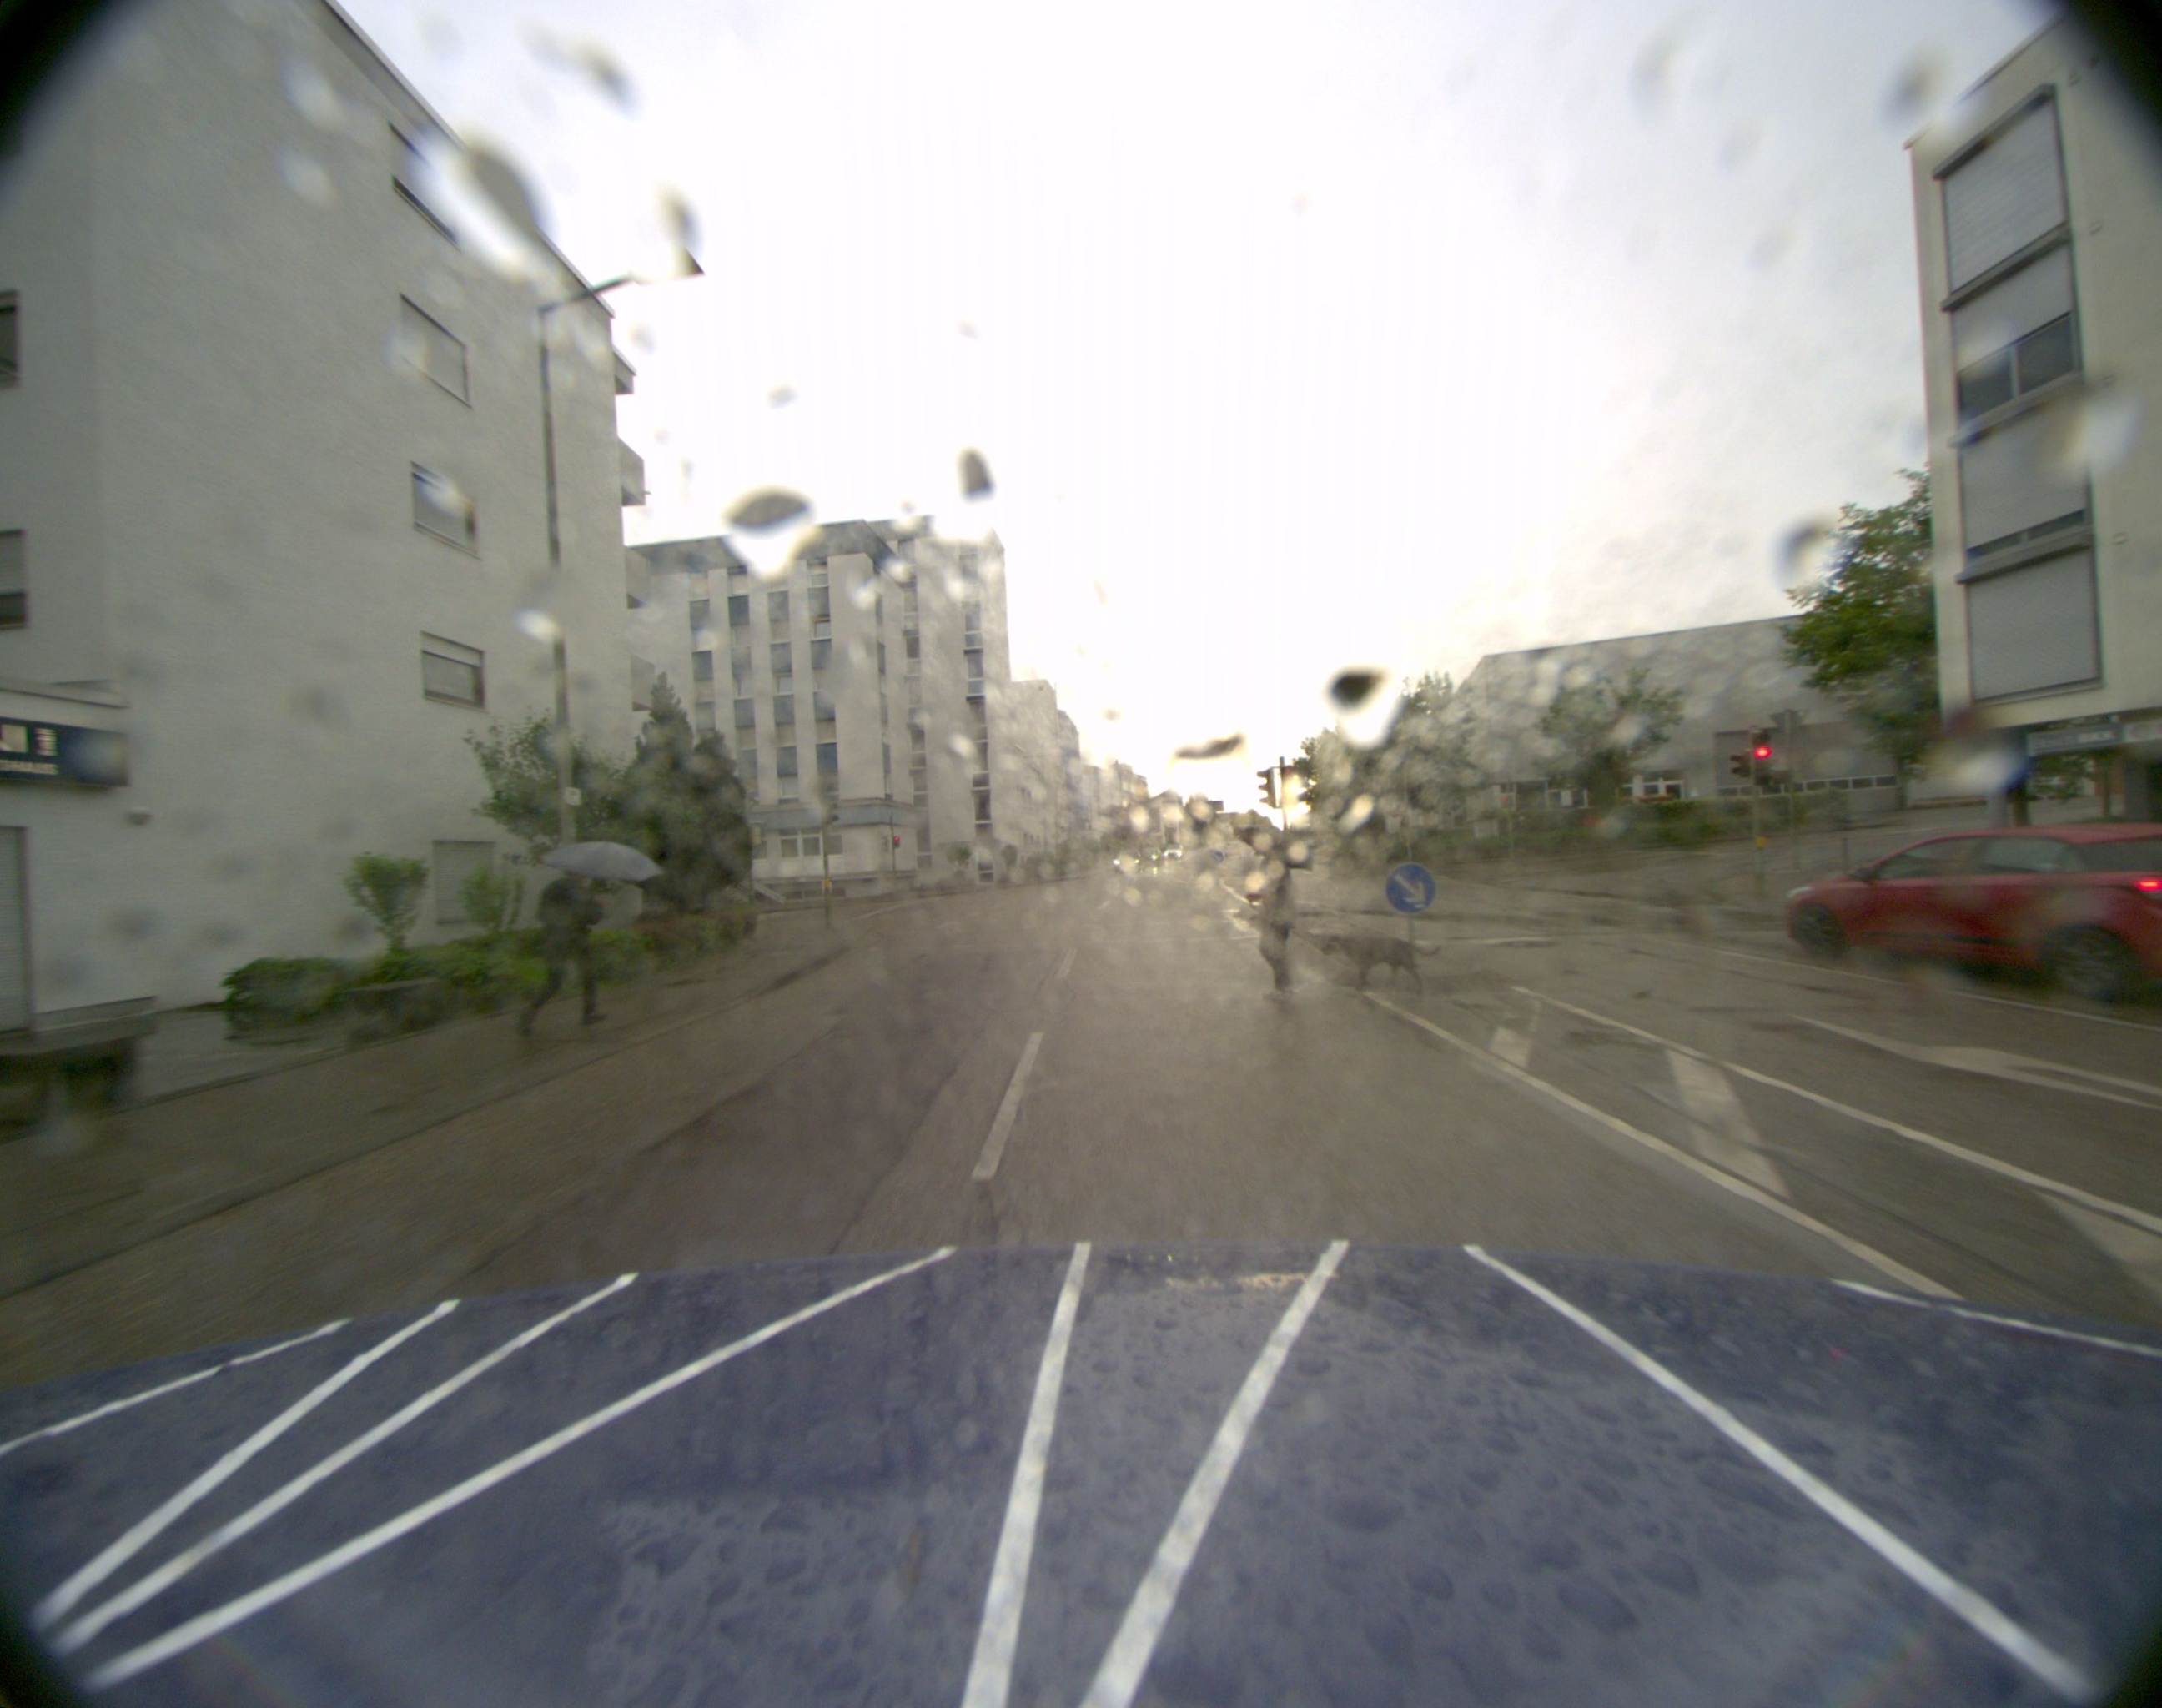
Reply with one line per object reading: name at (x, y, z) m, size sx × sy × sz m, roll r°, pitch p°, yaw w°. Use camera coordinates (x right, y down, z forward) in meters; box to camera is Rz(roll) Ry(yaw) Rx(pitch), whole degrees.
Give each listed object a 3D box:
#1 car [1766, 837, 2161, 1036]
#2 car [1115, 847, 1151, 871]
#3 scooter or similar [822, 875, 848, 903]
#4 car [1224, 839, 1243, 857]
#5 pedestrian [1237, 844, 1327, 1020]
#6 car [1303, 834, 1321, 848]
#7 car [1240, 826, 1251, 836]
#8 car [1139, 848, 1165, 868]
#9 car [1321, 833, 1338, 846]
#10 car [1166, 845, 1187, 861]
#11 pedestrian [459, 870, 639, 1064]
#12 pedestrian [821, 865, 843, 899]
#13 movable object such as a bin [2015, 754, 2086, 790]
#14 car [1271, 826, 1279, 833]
car at (9.231, 0.595, 7.361) m, size 1.779 × 1.498 × 4.105 m, roll -1°, pitch 1°, yaw 6°
car at (3.616, 0.307, 52.193) m, size 1.739 × 1.477 × 4.153 m, roll -3°, pitch 0°, yaw 13°
scooter or similar at (-11.752, 1.669, 36.328) m, size 0.801 × 1.220 × 1.061 m, roll -7°, pitch 0°, yaw -4°
car at (15.833, -0.632, 78.758) m, size 1.692 × 1.546 × 3.909 m, roll -5°, pitch 1°, yaw 12°
pedestrian at (2.111, 0.773, 7.925) m, size 0.667 × 1.692 × 0.948 m, roll -4°, pitch 1°, yaw 23°
car at (27.900, -1.593, 91.624) m, size 1.734 × 1.470 × 4.026 m, roll -4°, pitch 0°, yaw 20°
car at (35.749, -5.040, 164.862) m, size 1.997 × 2.002 × 4.003 m, roll -7°, pitch 0°, yaw 15°
car at (6.021, 0.336, 63.925) m, size 1.752 × 1.470 × 4.002 m, roll -4°, pitch 0°, yaw 10°
car at (29.830, -1.769, 91.069) m, size 1.734 × 1.470 × 4.026 m, roll -4°, pitch 0°, yaw 20°
car at (10.342, -0.172, 81.911) m, size 1.897 × 1.535 × 4.024 m, roll -4°, pitch 0°, yaw 12°
pedestrian at (-4.805, 0.978, 6.942) m, size 0.754 × 1.559 × 0.993 m, roll -5°, pitch 1°, yaw 4°
pedestrian at (-12.702, 1.433, 38.722) m, size 0.645 × 1.642 × 0.656 m, roll -7°, pitch 1°, yaw 5°
movable object such as a bin at (48.183, -4.074, 37.795) m, size 1.586 × 1.526 × 1.450 m, roll -5°, pitch 1°, yaw 20°
car at (51.391, -6.555, 201.303) m, size 1.827 × 1.677 × 4.004 m, roll -3°, pitch 0°, yaw 15°
